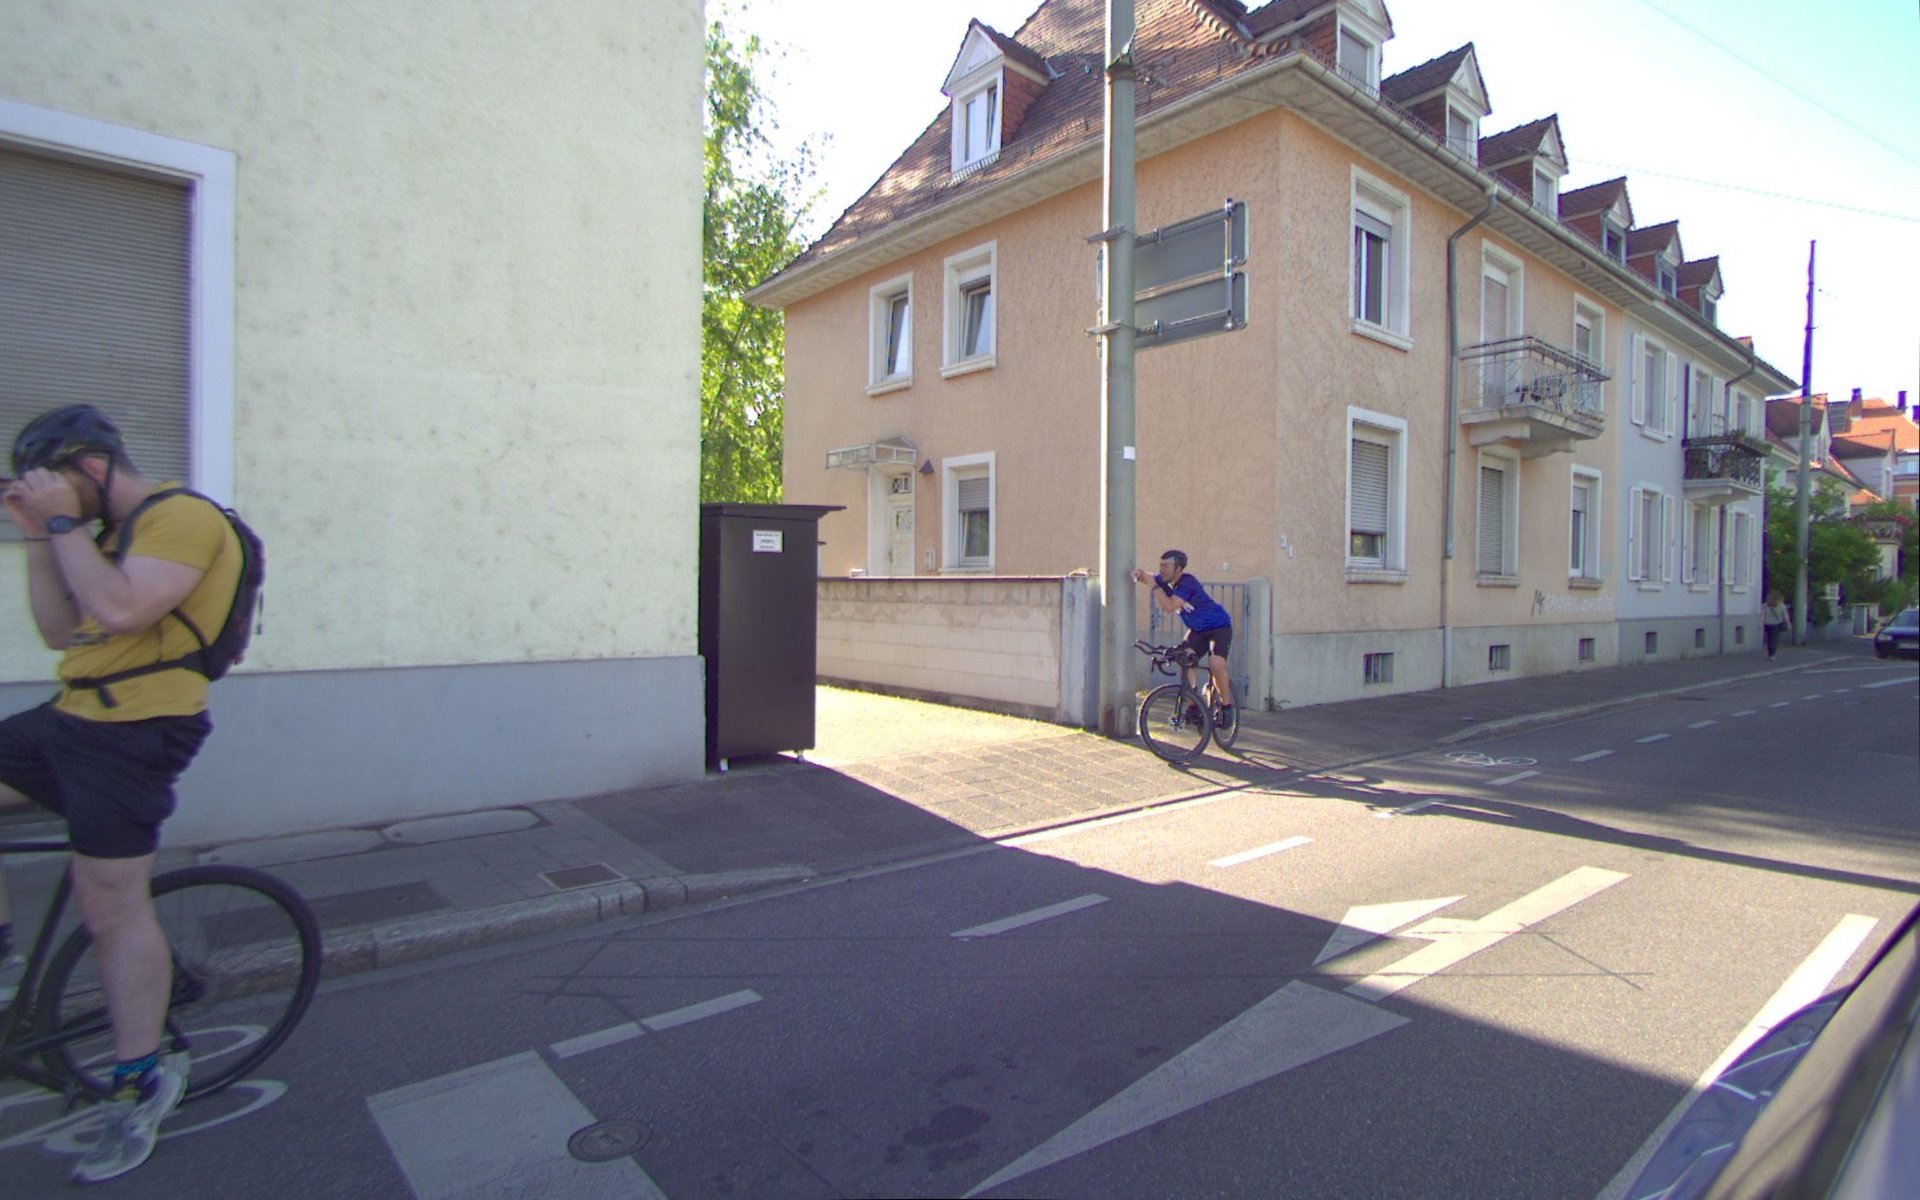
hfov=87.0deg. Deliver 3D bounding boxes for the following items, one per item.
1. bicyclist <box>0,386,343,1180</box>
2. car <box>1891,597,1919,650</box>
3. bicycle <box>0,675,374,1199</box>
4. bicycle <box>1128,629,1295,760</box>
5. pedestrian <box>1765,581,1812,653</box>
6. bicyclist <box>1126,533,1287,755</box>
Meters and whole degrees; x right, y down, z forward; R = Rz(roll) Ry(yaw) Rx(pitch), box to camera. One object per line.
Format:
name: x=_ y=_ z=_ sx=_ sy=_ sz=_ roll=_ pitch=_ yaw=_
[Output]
bicyclist: x=-2.301 y=0.419 z=2.703 sx=1.018 sy=1.840 sz=0.653 roll=0 pitch=1 yaw=-41
car: x=26.698 y=0.626 z=27.346 sx=3.796 sy=1.382 sz=1.648 roll=0 pitch=1 yaw=-38
bicycle: x=-2.477 y=0.841 z=2.538 sx=1.669 sy=1.180 sz=0.572 roll=0 pitch=1 yaw=-41
bicycle: x=2.316 y=0.815 z=9.212 sx=1.669 sy=1.003 sz=0.572 roll=0 pitch=4 yaw=-41
pedestrian: x=19.866 y=0.400 z=24.259 sx=1.079 sy=1.682 sz=0.694 roll=0 pitch=0 yaw=-41
bicyclist: x=2.283 y=0.358 z=9.437 sx=0.831 sy=1.887 sz=1.076 roll=0 pitch=4 yaw=-40
